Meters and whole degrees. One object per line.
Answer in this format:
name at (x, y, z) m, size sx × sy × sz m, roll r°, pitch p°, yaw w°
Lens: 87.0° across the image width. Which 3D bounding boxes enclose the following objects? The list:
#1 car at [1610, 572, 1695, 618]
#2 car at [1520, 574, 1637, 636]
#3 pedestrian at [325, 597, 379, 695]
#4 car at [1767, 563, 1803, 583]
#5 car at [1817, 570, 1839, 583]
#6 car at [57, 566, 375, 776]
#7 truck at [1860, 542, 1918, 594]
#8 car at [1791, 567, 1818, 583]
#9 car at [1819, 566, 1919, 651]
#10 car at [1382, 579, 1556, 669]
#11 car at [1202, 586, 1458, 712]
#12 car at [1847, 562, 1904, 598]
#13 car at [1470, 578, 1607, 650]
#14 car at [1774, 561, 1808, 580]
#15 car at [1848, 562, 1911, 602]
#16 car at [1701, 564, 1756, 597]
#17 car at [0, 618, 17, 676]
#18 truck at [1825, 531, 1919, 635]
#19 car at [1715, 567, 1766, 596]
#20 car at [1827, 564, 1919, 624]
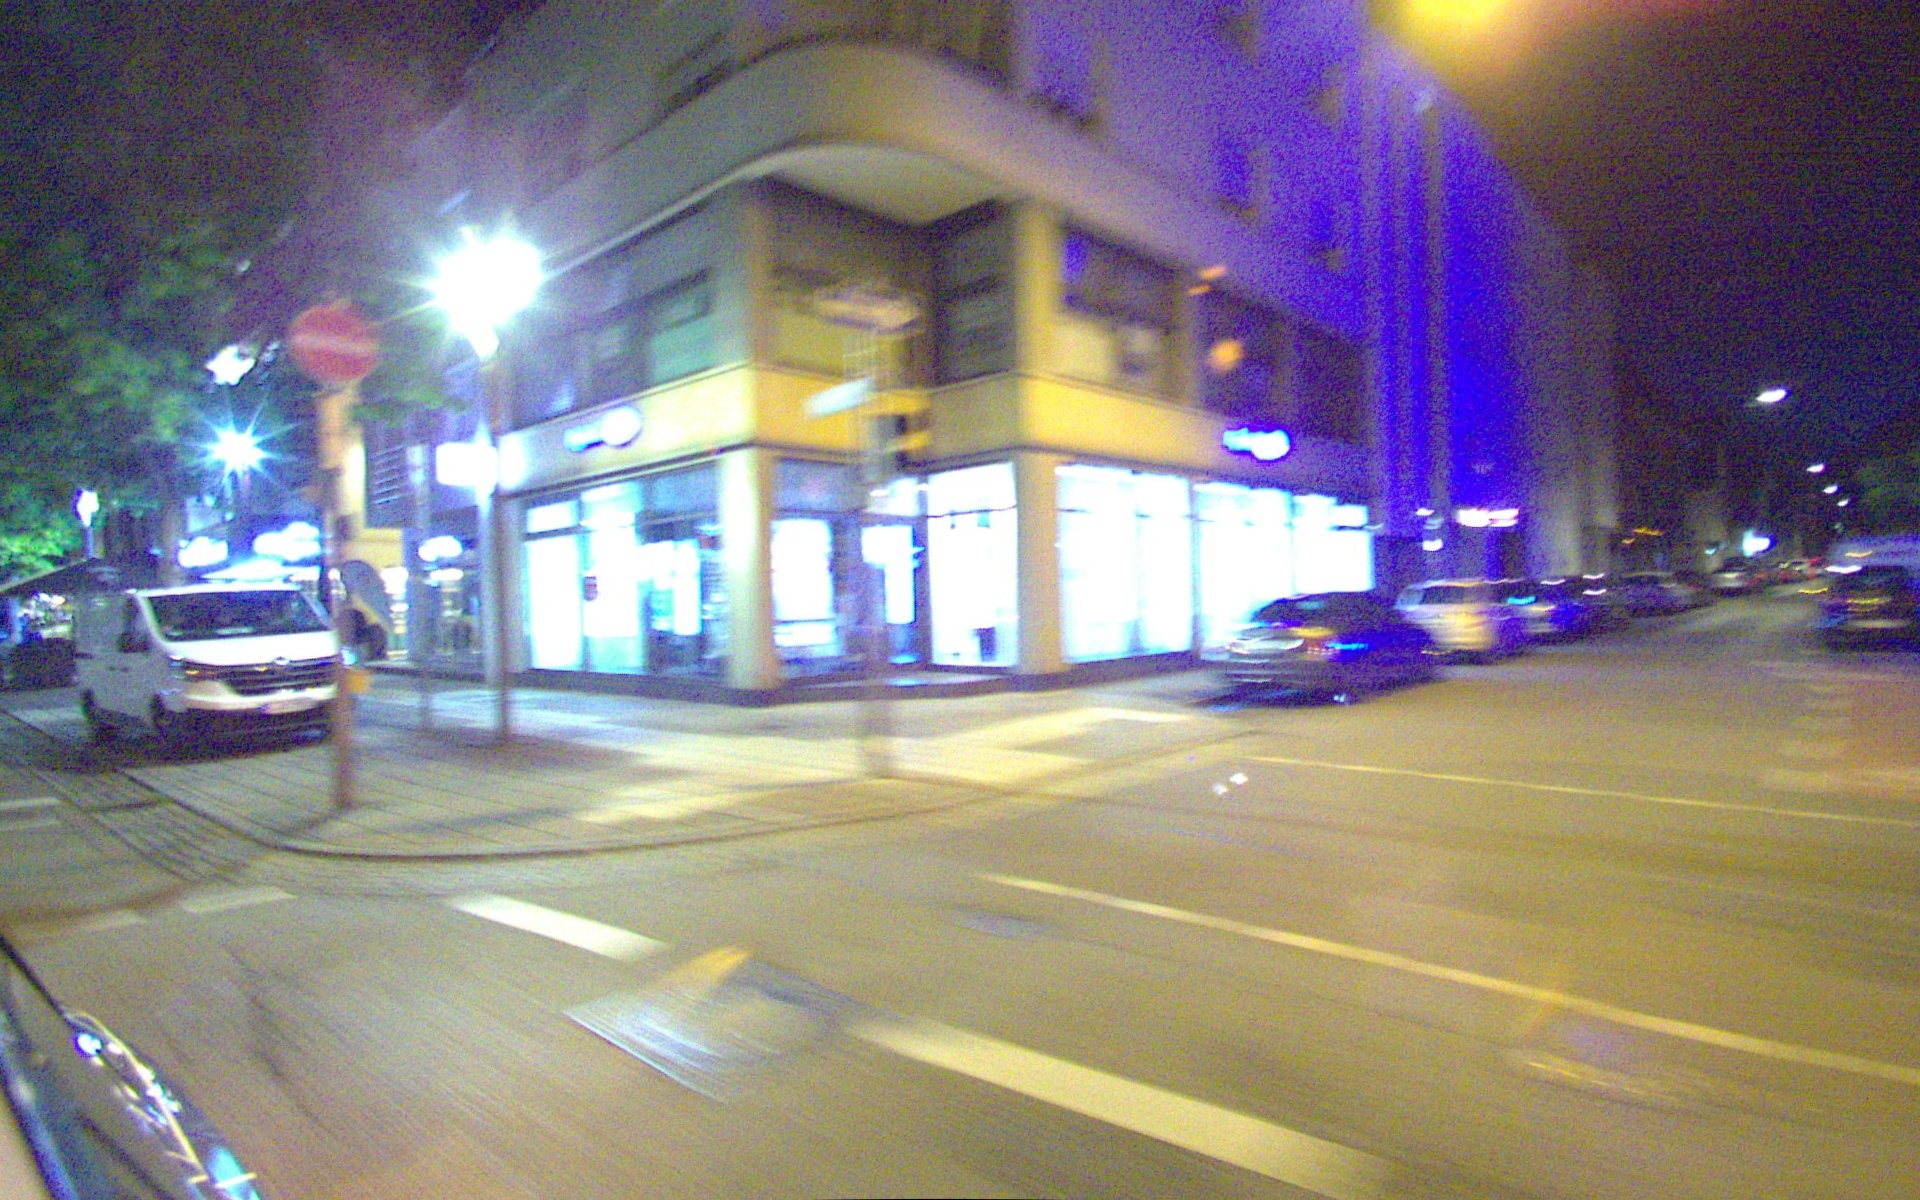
car at (23.119, -0.182, 33.749) m, size 1.803 × 1.406 × 3.856 m, roll -2°, pitch 0°, yaw 42°
car at (15.738, 0.100, 25.664) m, size 1.803 × 1.406 × 3.856 m, roll -2°, pitch 0°, yaw 42°
pedestrian at (-11.655, 0.864, 19.405) m, size 0.716 × 1.820 × 0.710 m, roll -2°, pitch -1°, yaw 44°
car at (59.781, -1.953, 73.297) m, size 1.803 × 1.406 × 3.856 m, roll -2°, pitch 0°, yaw 42°
car at (98.761, -2.703, 115.117) m, size 1.803 × 1.406 × 3.856 m, roll -2°, pitch 0°, yaw 42°
car at (-9.425, 0.763, 12.643) m, size 5.084 × 2.102 × 1.835 m, roll -2°, pitch 2°, yaw 38°
truck at (42.908, -1.466, 46.784) m, size 1.858 × 2.255 × 3.939 m, roll -2°, pitch 0°, yaw 42°
car at (79.212, -2.376, 94.920) m, size 1.803 × 1.406 × 3.856 m, roll -2°, pitch 0°, yaw 42°
car at (16.311, 0.119, 17.836) m, size 1.659 × 1.395 × 3.057 m, roll -1°, pitch 0°, yaw 42°
car at (9.468, 0.378, 18.657) m, size 1.803 × 1.447 × 4.091 m, roll -2°, pitch 0°, yaw 42°
car at (5.223, 0.563, 13.951) m, size 1.803 × 1.408 × 4.282 m, roll -2°, pitch 0°, yaw 42°
car at (39.494, -0.862, 43.686) m, size 1.726 × 1.429 × 3.856 m, roll -1°, pitch 0°, yaw 42°
car at (12.819, 0.269, 22.322) m, size 1.803 × 1.406 × 3.856 m, roll -2°, pitch 0°, yaw 42°
car at (64.753, -2.274, 78.871) m, size 1.803 × 1.406 × 3.856 m, roll -2°, pitch 0°, yaw 42°
car at (35.851, -0.702, 39.492) m, size 1.726 × 1.429 × 3.856 m, roll -1°, pitch 0°, yaw 42°
car at (38.062, -0.969, 50.077) m, size 1.803 × 1.534 × 3.856 m, roll -2°, pitch 0°, yaw 42°
car at (-35.426, 1.704, 36.305) m, size 5.076 × 1.980 × 1.904 m, roll -2°, pitch 1°, yaw 43°
truck at (19.811, -0.361, 21.632) m, size 1.858 × 2.038 × 3.986 m, roll -2°, pitch 0°, yaw 42°
car at (41.378, -0.996, 53.591) m, size 1.803 × 1.406 × 3.856 m, roll -2°, pitch 0°, yaw 42°
car at (23.457, -0.163, 25.941) m, size 1.726 × 1.429 × 3.856 m, roll -1°, pitch 0°, yaw 42°
